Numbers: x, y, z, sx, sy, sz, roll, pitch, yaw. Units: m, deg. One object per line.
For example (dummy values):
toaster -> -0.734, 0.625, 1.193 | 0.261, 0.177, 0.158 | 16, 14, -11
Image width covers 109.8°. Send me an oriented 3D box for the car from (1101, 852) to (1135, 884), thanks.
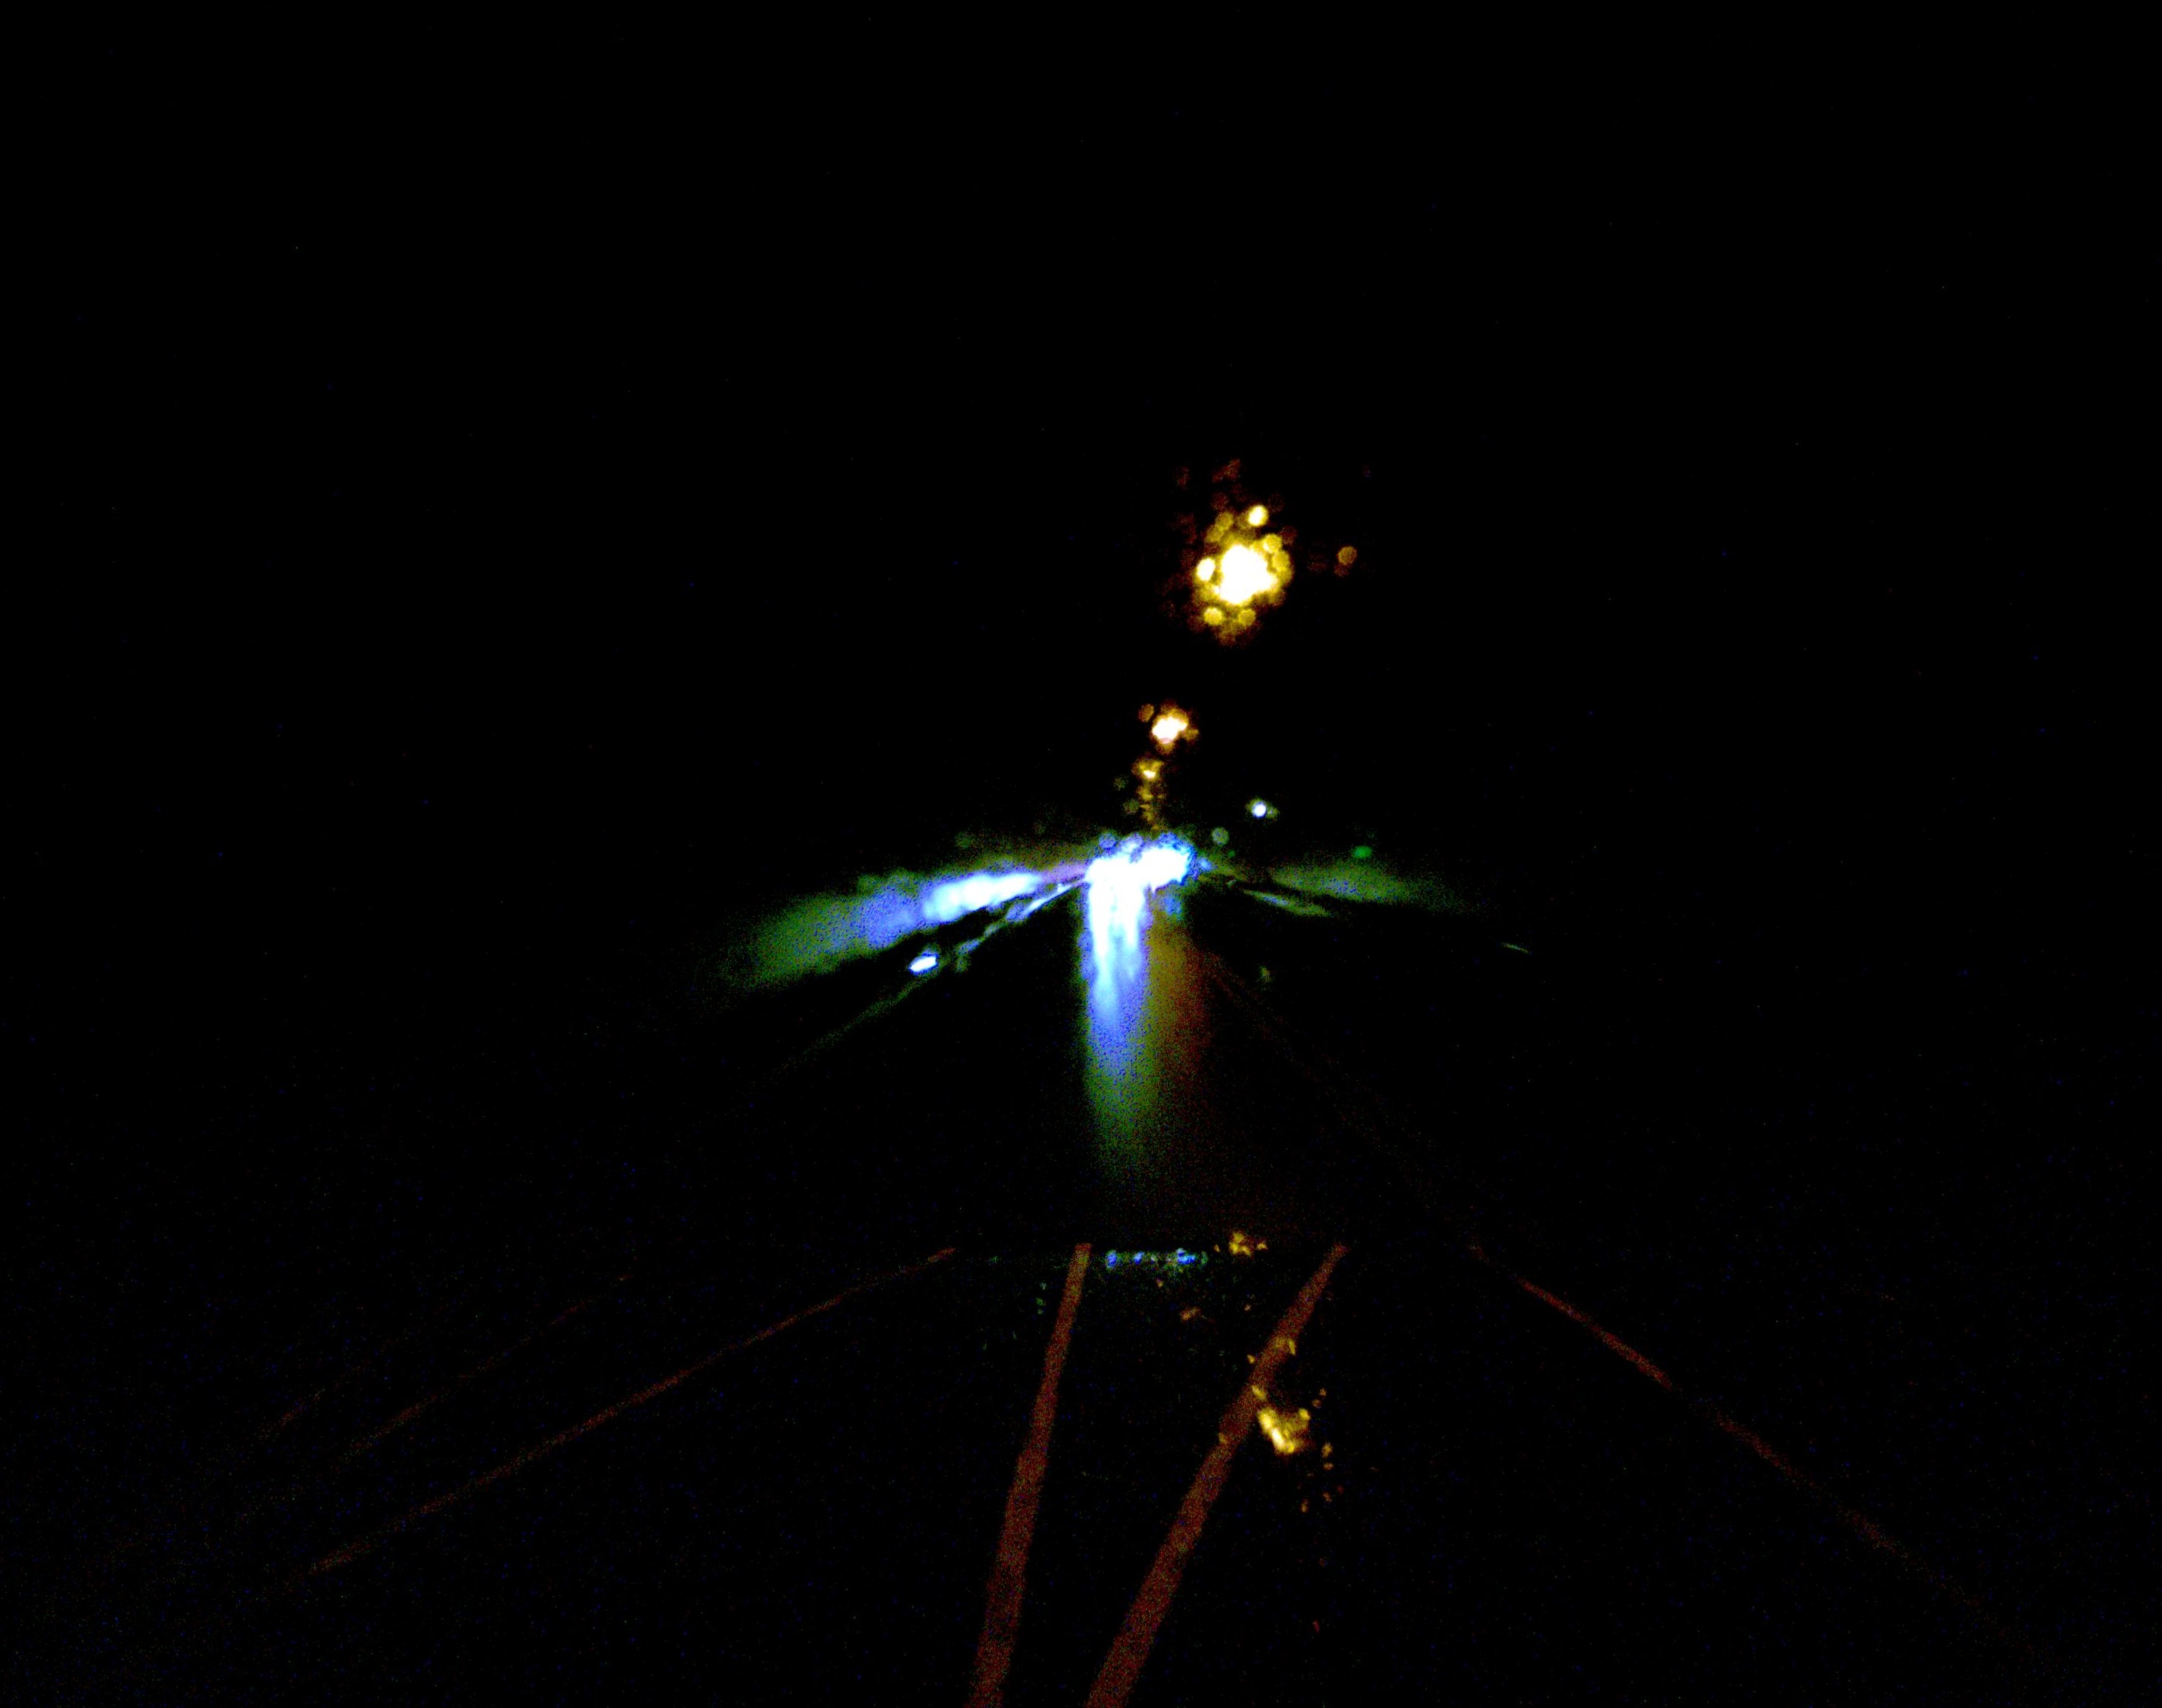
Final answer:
car -> 2.215, 0.794, 44.697 | 1.729, 1.595, 4.001 | -4, 0, 5
